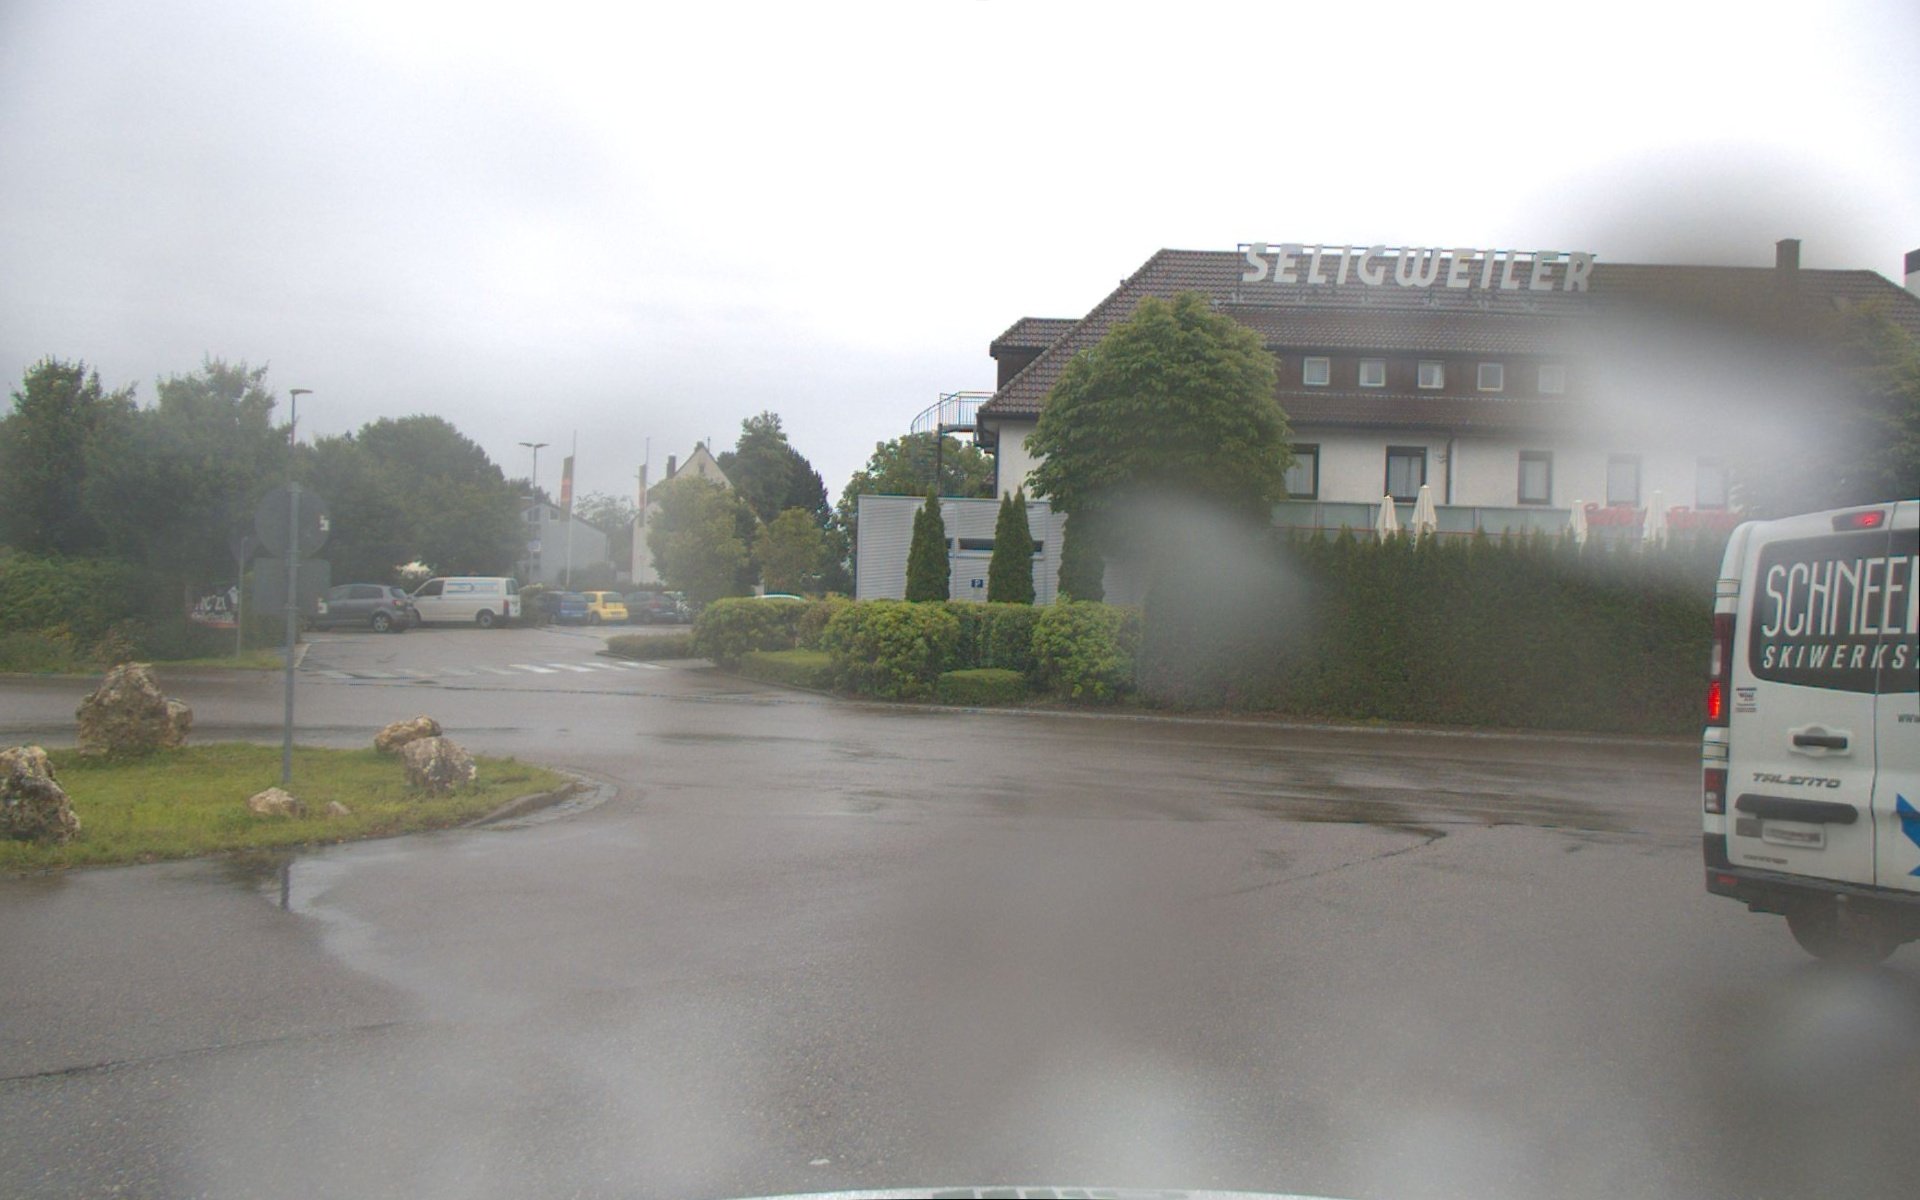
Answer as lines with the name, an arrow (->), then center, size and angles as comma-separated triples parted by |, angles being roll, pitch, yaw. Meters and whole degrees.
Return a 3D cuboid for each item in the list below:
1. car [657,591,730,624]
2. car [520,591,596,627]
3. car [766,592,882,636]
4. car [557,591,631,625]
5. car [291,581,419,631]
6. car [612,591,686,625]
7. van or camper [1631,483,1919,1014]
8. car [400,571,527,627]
car -> -12.523, 0.342, 77.691 | 3.619, 1.483, 1.574 | 1, 1, 45
car -> -17.535, 0.371, 72.065 | 3.619, 1.483, 1.545 | 1, 1, 45
car -> -4.927, 0.503, 60.300 | 4.090, 1.524, 1.718 | 0, 0, 0
car -> -16.464, 0.333, 74.364 | 3.619, 1.483, 1.574 | 1, 1, 45
car -> -19.900, 0.179, 54.497 | 3.655, 1.578, 1.451 | 1, 0, 0
car -> -14.327, 0.336, 76.060 | 3.619, 1.483, 1.574 | 1, 1, 45
van or camper -> 5.811, 0.664, 7.487 | 5.110, 1.979, 2.179 | 3, -2, -23
car -> -19.339, -0.047, 64.489 | 4.427, 2.069, 1.645 | 1, 0, 0
